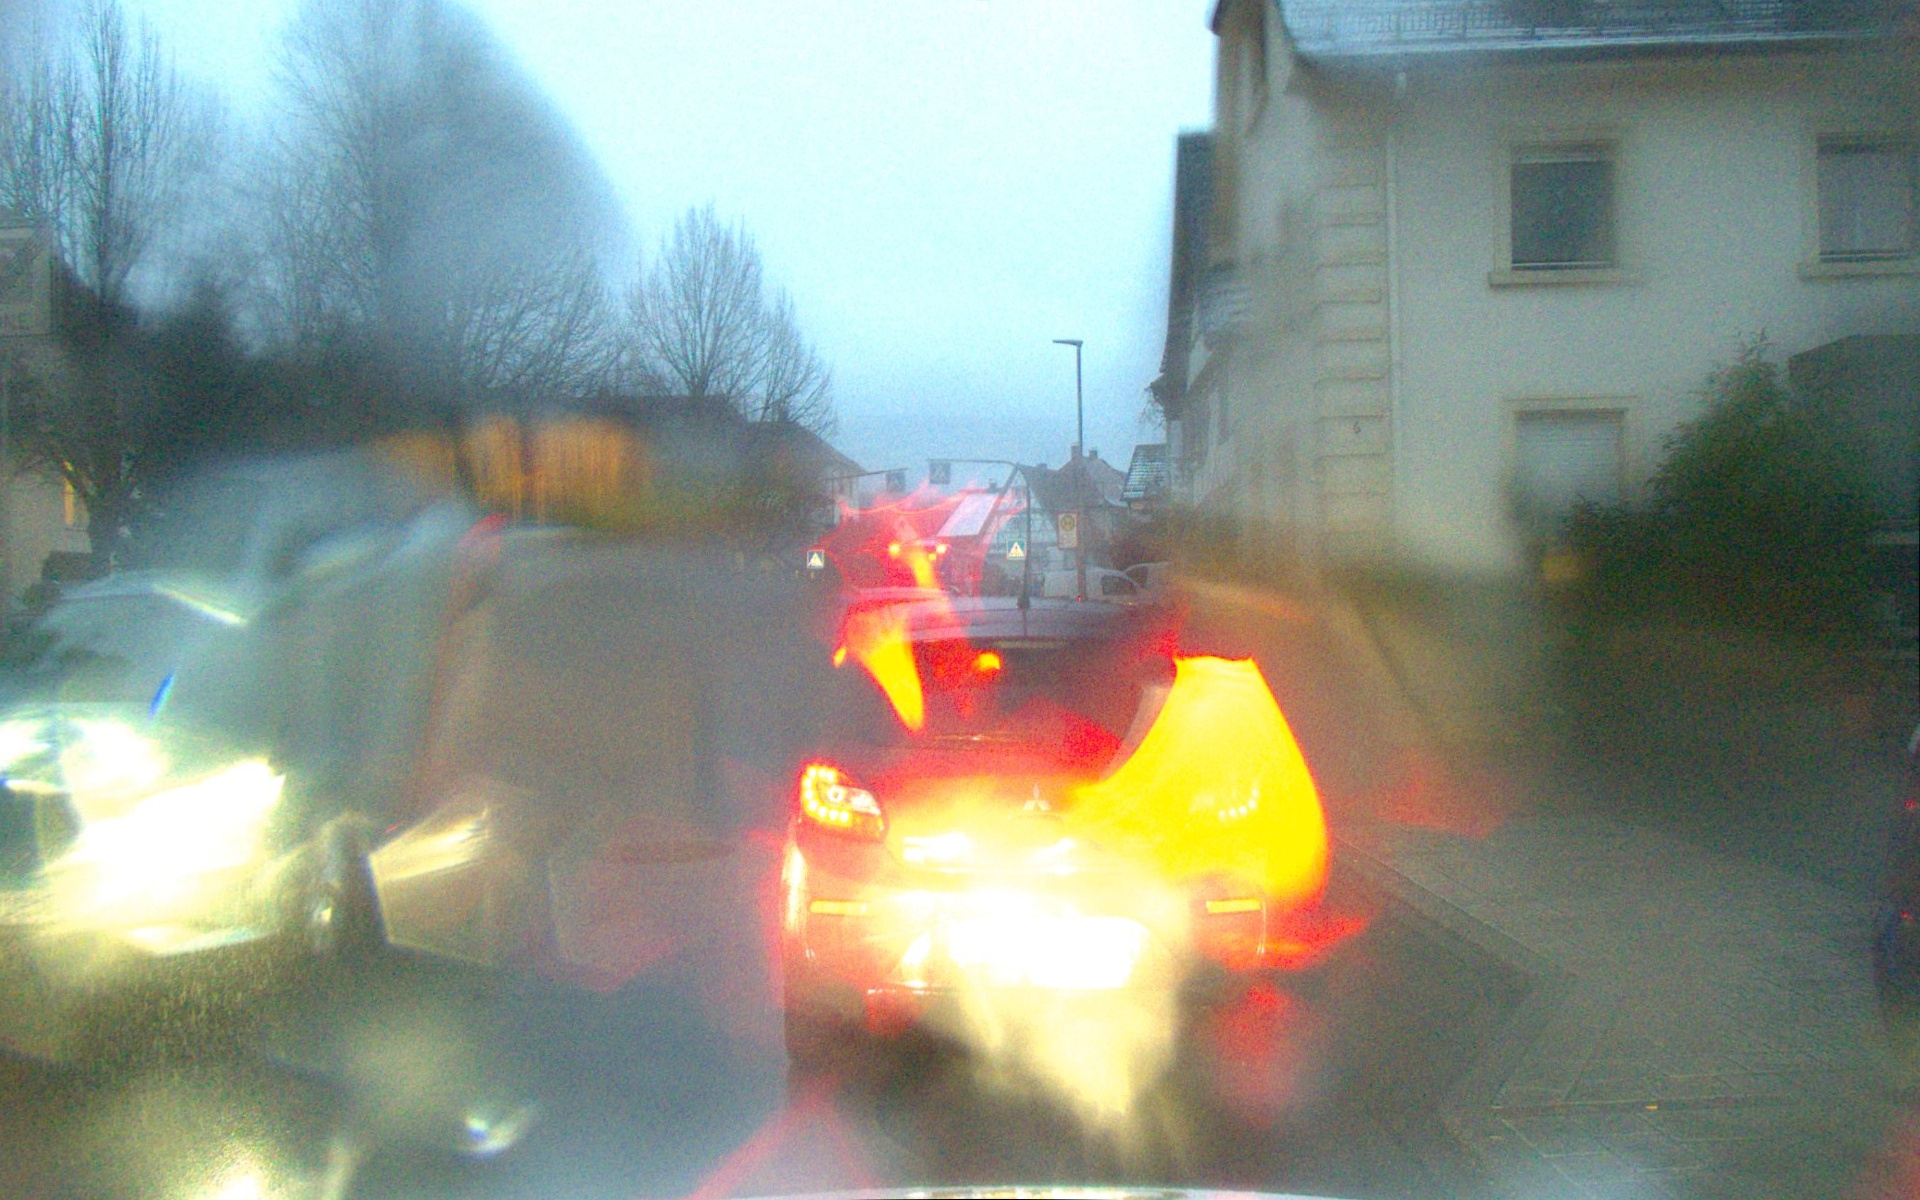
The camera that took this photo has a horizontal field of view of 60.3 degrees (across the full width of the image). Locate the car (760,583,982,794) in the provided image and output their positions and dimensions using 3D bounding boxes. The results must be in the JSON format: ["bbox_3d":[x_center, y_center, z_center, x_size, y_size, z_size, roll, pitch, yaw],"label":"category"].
[{"bbox_3d":[-0.826,0.620,13.582,1.607,1.507,3.266,0,1,-7],"label":"car"}]

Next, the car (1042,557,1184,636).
[{"bbox_3d":[4.429,-0.103,47.881,4.010,2.200,1.915,0,0,6],"label":"car"}]

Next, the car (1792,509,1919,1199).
[{"bbox_3d":[4.038,0.557,3.456,3.795,1.607,1.680,-1,0,-6],"label":"car"}]

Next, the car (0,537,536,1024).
[{"bbox_3d":[-3.349,0.582,7.724,1.774,1.624,4.397,-1,1,-3],"label":"car"}]

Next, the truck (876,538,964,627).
[{"bbox_3d":[-1.424,-0.655,63.138,2.953,3.183,8.002,0,0,2],"label":"truck"}]

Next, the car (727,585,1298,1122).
[{"bbox_3d":[0.130,0.709,6.346,1.604,1.507,3.378,0,0,-1],"label":"car"}]

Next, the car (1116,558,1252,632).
[{"bbox_3d":[6.757,-0.161,50.183,4.010,2.189,1.915,0,0,6],"label":"car"}]

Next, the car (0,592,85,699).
[{"bbox_3d":[-19.809,0.872,33.154,3.903,2.023,1.820,0,0,19],"label":"car"}]

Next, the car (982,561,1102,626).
[{"bbox_3d":[2.875,-0.226,57.444,4.010,2.189,1.915,0,0,6],"label":"car"}]

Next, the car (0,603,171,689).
[{"bbox_3d":[-19.397,0.966,35.956,3.903,1.760,1.820,0,1,19],"label":"car"}]
